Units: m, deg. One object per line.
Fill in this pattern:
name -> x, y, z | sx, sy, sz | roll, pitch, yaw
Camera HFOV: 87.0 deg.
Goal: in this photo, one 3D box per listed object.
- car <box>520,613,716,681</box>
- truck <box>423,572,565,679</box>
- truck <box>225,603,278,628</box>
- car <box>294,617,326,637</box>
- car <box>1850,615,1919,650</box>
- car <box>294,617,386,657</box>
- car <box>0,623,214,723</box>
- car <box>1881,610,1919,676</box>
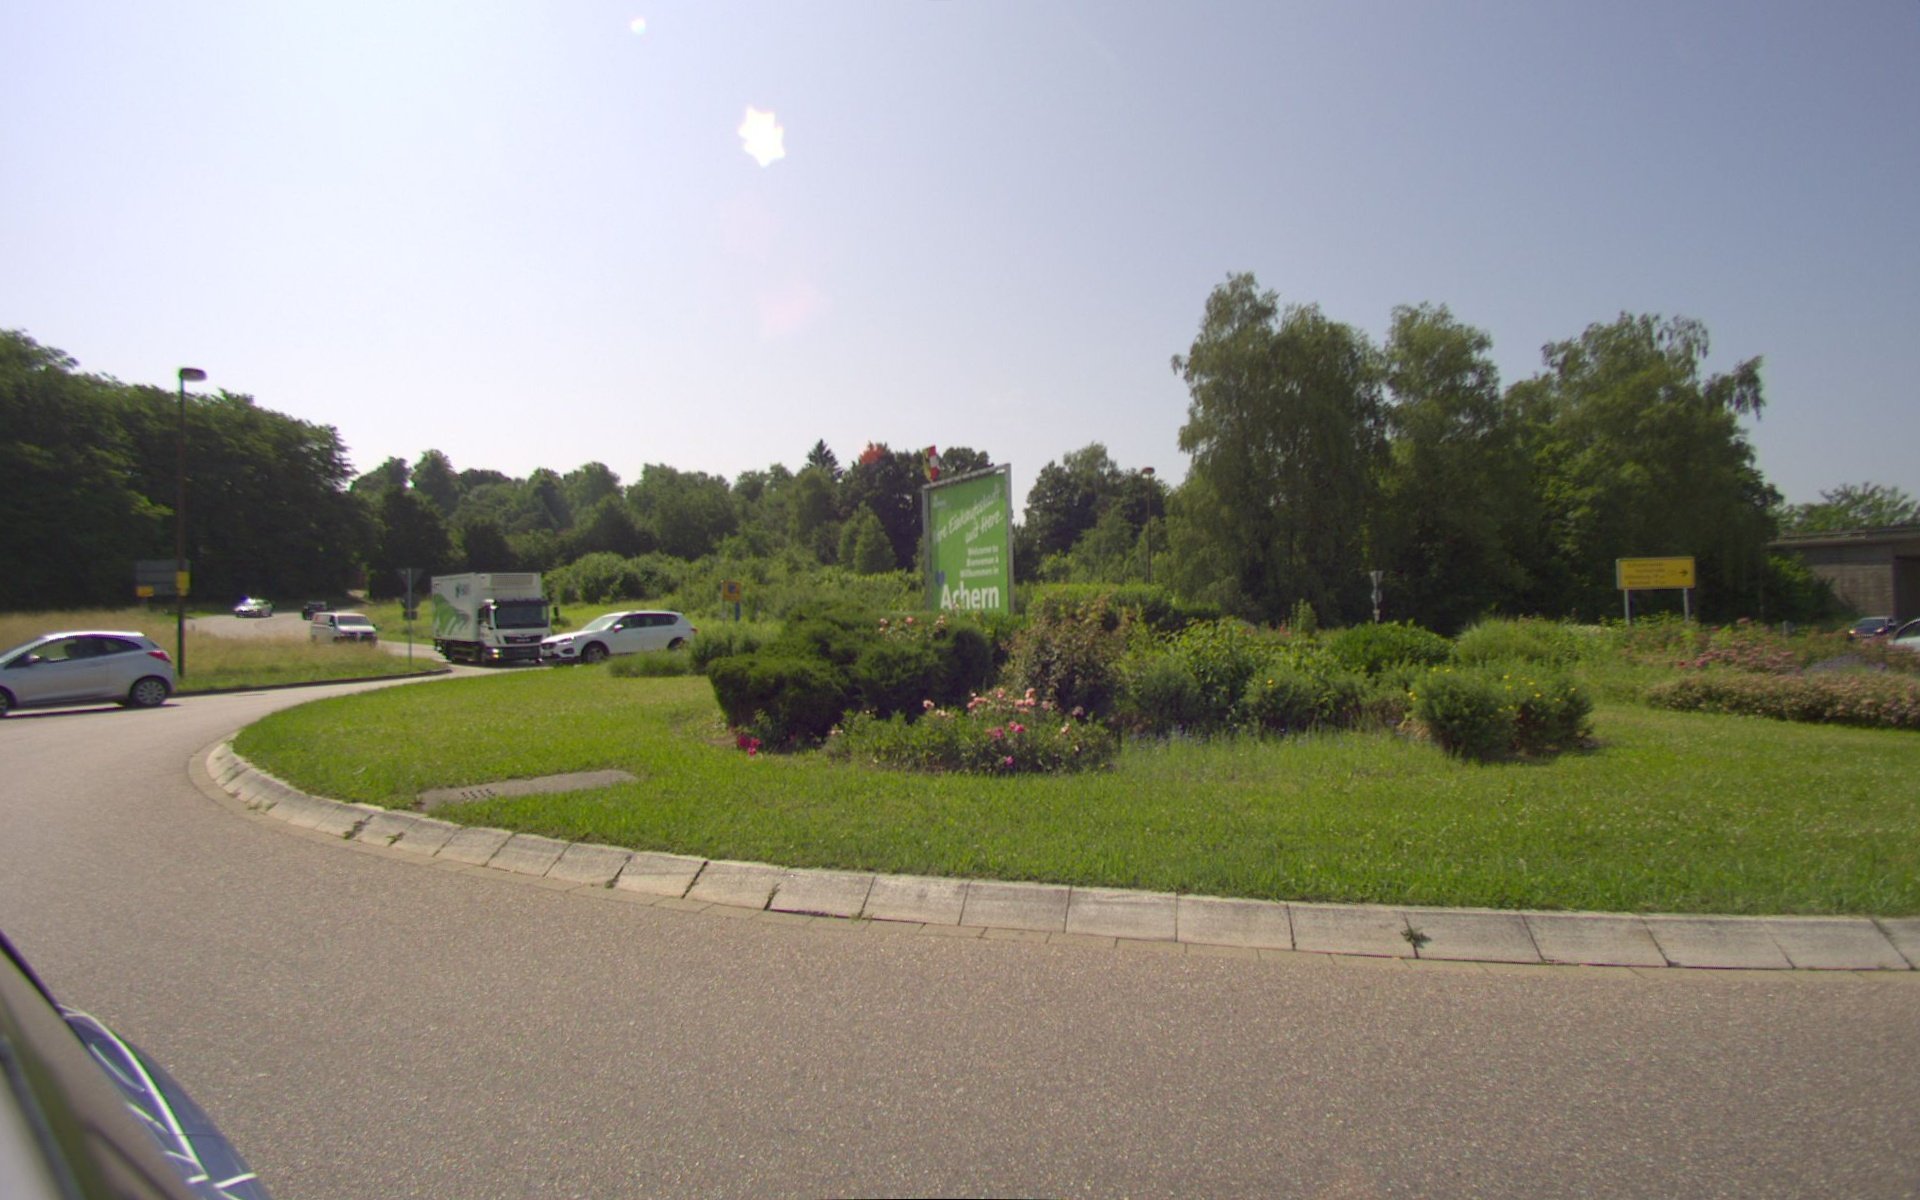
car -> -9.896, 1.310, 29.637 | 2.195, 1.665, 5.054 | -2, 0, 39
truck -> -18.923, 0.947, 40.714 | 2.855, 3.858, 9.038 | -1, 0, -40
truck -> -60.754, 1.324, 86.892 | 2.322, 2.029, 5.458 | -1, 0, -20
car -> -56.294, 2.354, 87.662 | 1.727, 1.542, 4.226 | 2, -4, -25
car -> 50.665, 1.762, 55.120 | 4.560, 1.665, 2.035 | -2, 0, -32
car -> -33.396, 1.982, 54.459 | 5.586, 2.029, 1.978 | -1, 0, 33
car -> -16.863, 1.370, 19.014 | 2.126, 1.628, 4.146 | -5, -2, 38
car -> 24.409, 1.070, 24.532 | 1.779, 1.563, 3.970 | -1, 0, 22
